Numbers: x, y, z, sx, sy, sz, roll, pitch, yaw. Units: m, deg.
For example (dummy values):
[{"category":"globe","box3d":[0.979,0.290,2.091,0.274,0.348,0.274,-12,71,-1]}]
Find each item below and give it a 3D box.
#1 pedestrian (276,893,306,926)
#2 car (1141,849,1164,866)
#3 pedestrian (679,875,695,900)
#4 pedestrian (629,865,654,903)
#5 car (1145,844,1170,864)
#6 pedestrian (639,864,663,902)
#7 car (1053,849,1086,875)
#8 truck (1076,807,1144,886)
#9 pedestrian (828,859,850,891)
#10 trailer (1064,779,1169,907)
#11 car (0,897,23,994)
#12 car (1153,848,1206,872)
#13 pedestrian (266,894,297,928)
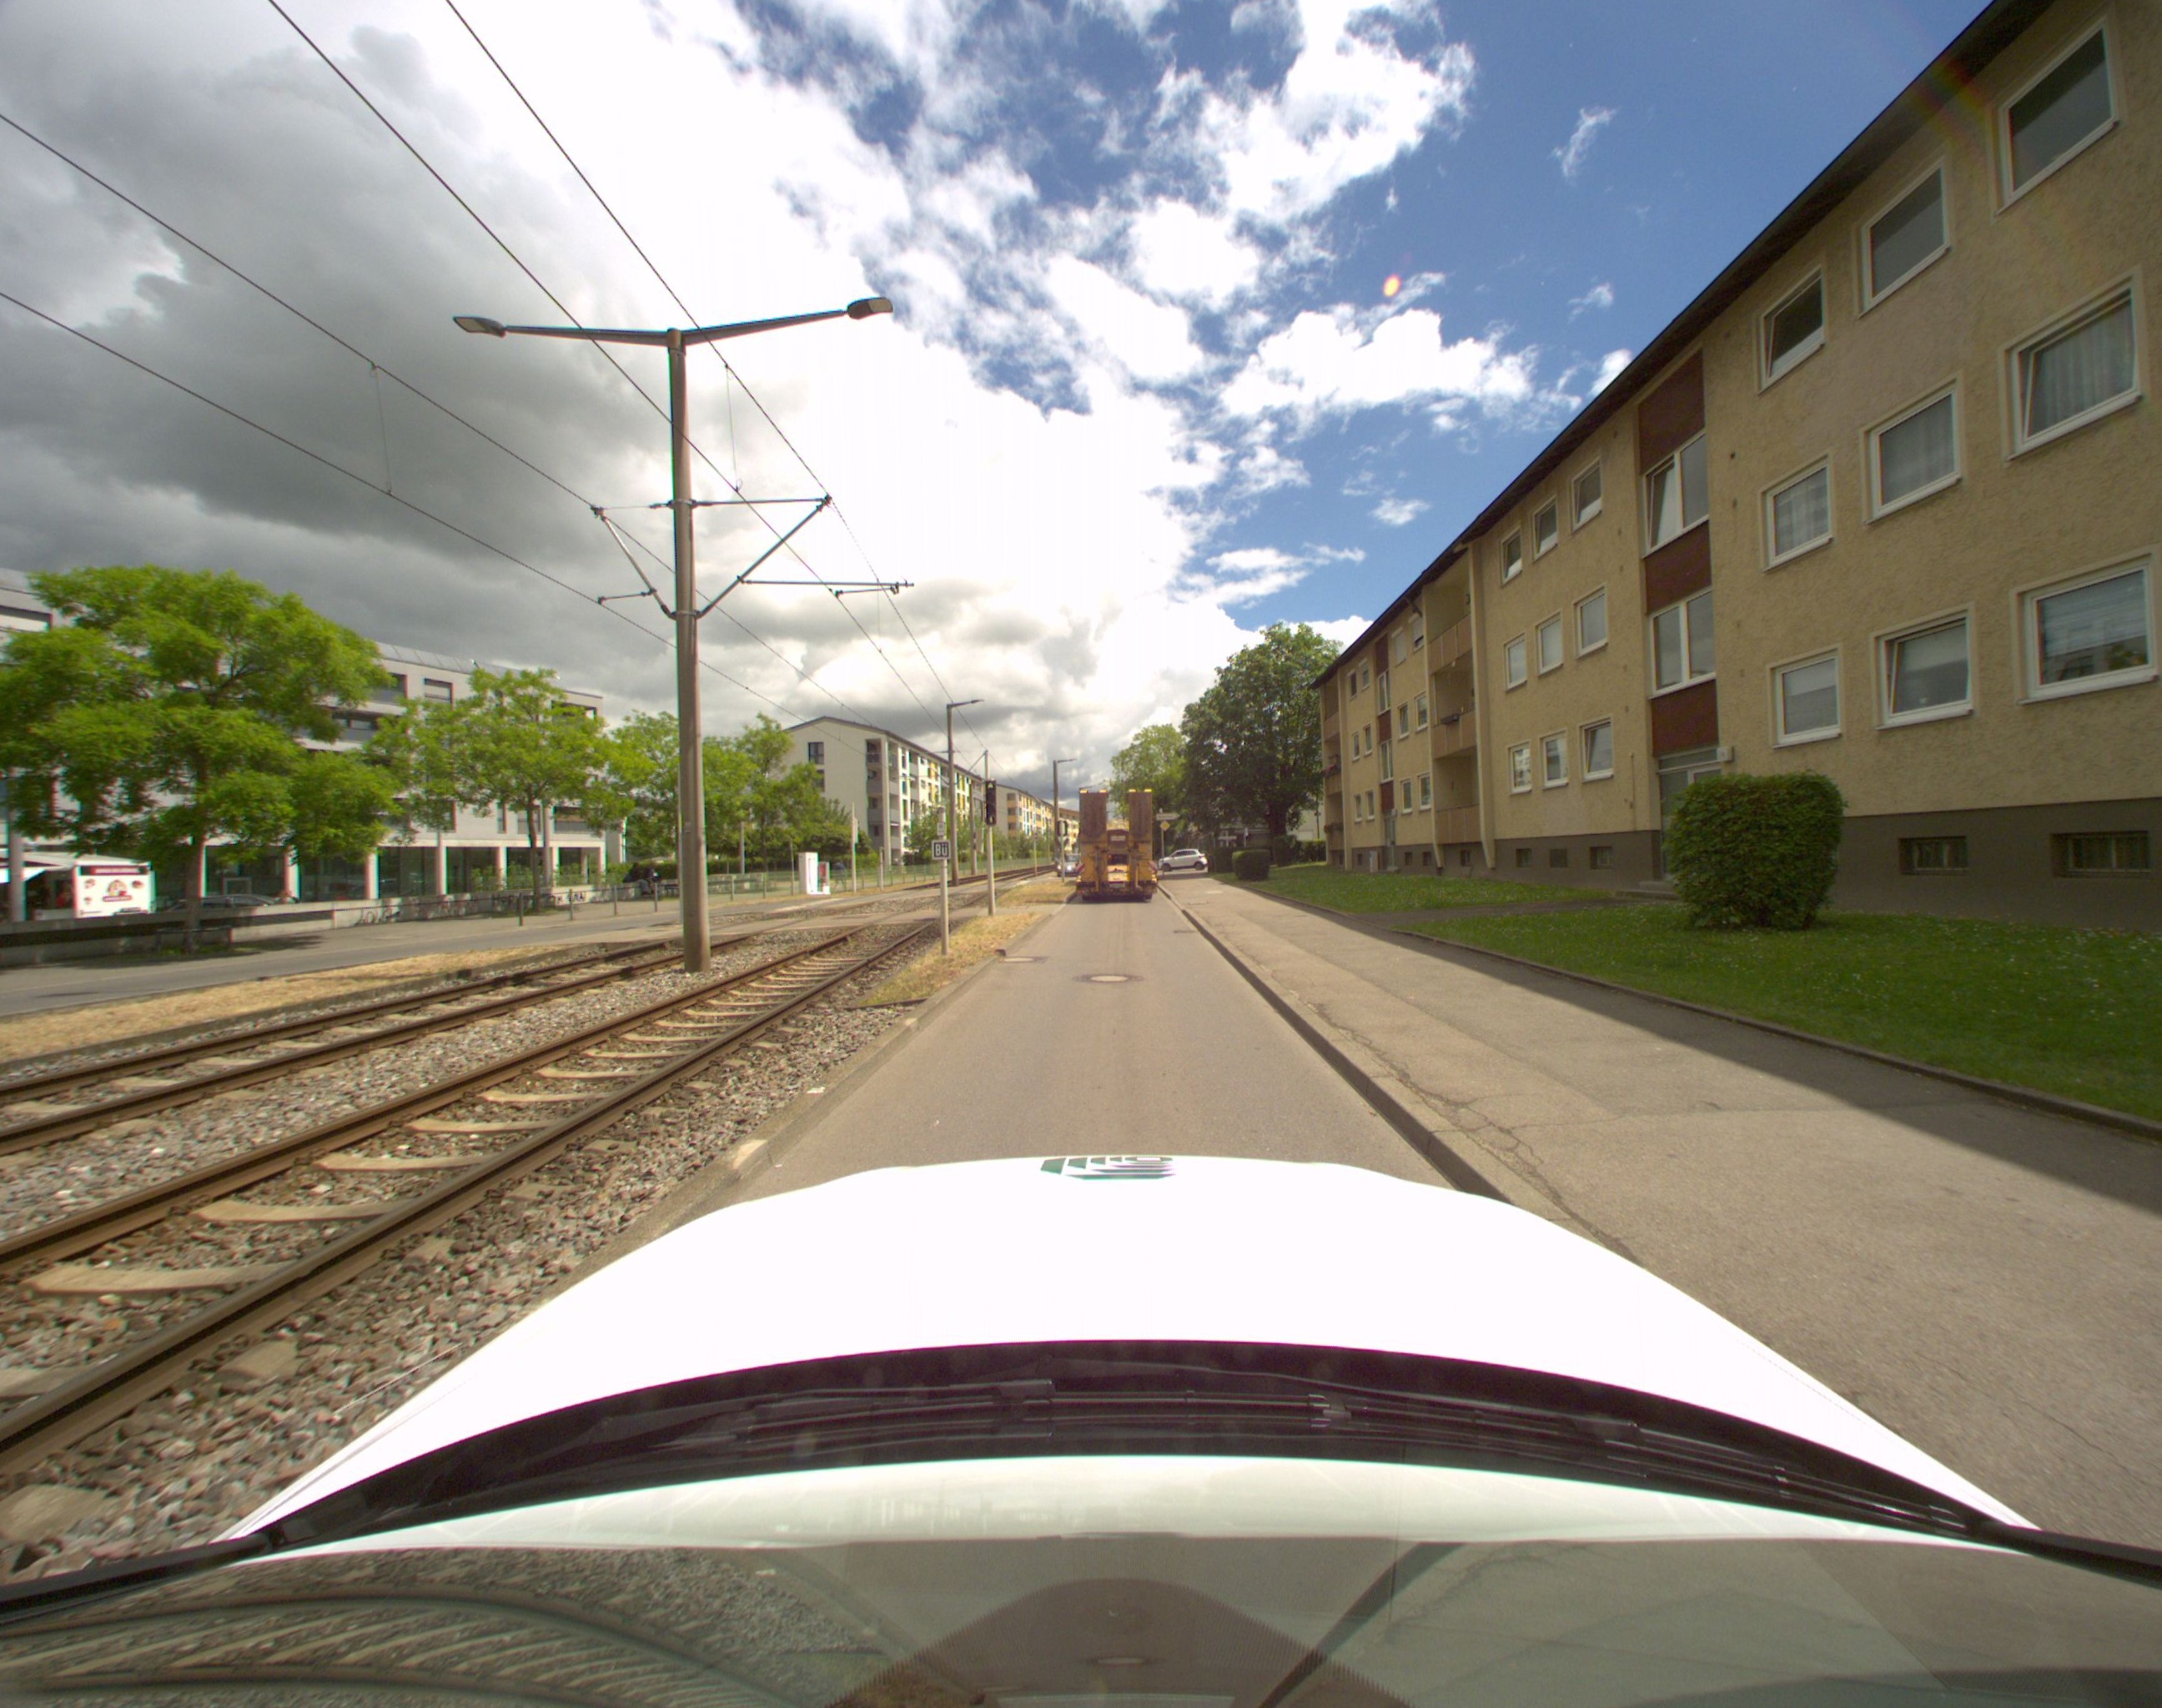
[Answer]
[{"category":"pedestrian","box3d":[-27.282,1.912,28.119,0.494,1.096,0.581,-2,0,27]},{"category":"car","box3d":[6.993,0.335,79.752,1.986,1.387,4.003,-3,1,2]},{"category":"pedestrian","box3d":[-20.824,1.770,43.063,0.539,1.246,0.460,-3,1,23]},{"category":"pedestrian","box3d":[-18.630,1.271,34.501,0.618,1.573,0.560,-3,1,13]},{"category":"car","box3d":[6.968,0.012,74.879,1.986,1.617,4.003,-3,1,2]},{"category":"pedestrian","box3d":[-18.672,1.250,35.371,0.619,1.573,0.559,-3,1,8]},{"category":"car","box3d":[-0.737,0.545,56.441,1.793,1.652,4.138,-3,-1,5]},{"category":"truck","box3d":[1.320,-0.413,40.032,2.824,3.330,7.985,-3,1,0]},{"category":"pedestrian","box3d":[-13.145,1.121,44.239,0.745,1.661,0.871,-3,1,6]},{"category":"trailer","box3d":[1.136,-0.469,30.923,3.041,3.772,11.613,-3,1,0]},{"category":"car","box3d":[-17.182,1.457,10.783,1.604,1.426,3.432,-3,1,9]},{"category":"car","box3d":[7.346,0.436,60.599,3.572,1.584,2.008,-3,0,14]},{"category":"pedestrian","box3d":[-26.660,1.893,27.155,0.494,1.096,0.581,-2,0,27]}]
